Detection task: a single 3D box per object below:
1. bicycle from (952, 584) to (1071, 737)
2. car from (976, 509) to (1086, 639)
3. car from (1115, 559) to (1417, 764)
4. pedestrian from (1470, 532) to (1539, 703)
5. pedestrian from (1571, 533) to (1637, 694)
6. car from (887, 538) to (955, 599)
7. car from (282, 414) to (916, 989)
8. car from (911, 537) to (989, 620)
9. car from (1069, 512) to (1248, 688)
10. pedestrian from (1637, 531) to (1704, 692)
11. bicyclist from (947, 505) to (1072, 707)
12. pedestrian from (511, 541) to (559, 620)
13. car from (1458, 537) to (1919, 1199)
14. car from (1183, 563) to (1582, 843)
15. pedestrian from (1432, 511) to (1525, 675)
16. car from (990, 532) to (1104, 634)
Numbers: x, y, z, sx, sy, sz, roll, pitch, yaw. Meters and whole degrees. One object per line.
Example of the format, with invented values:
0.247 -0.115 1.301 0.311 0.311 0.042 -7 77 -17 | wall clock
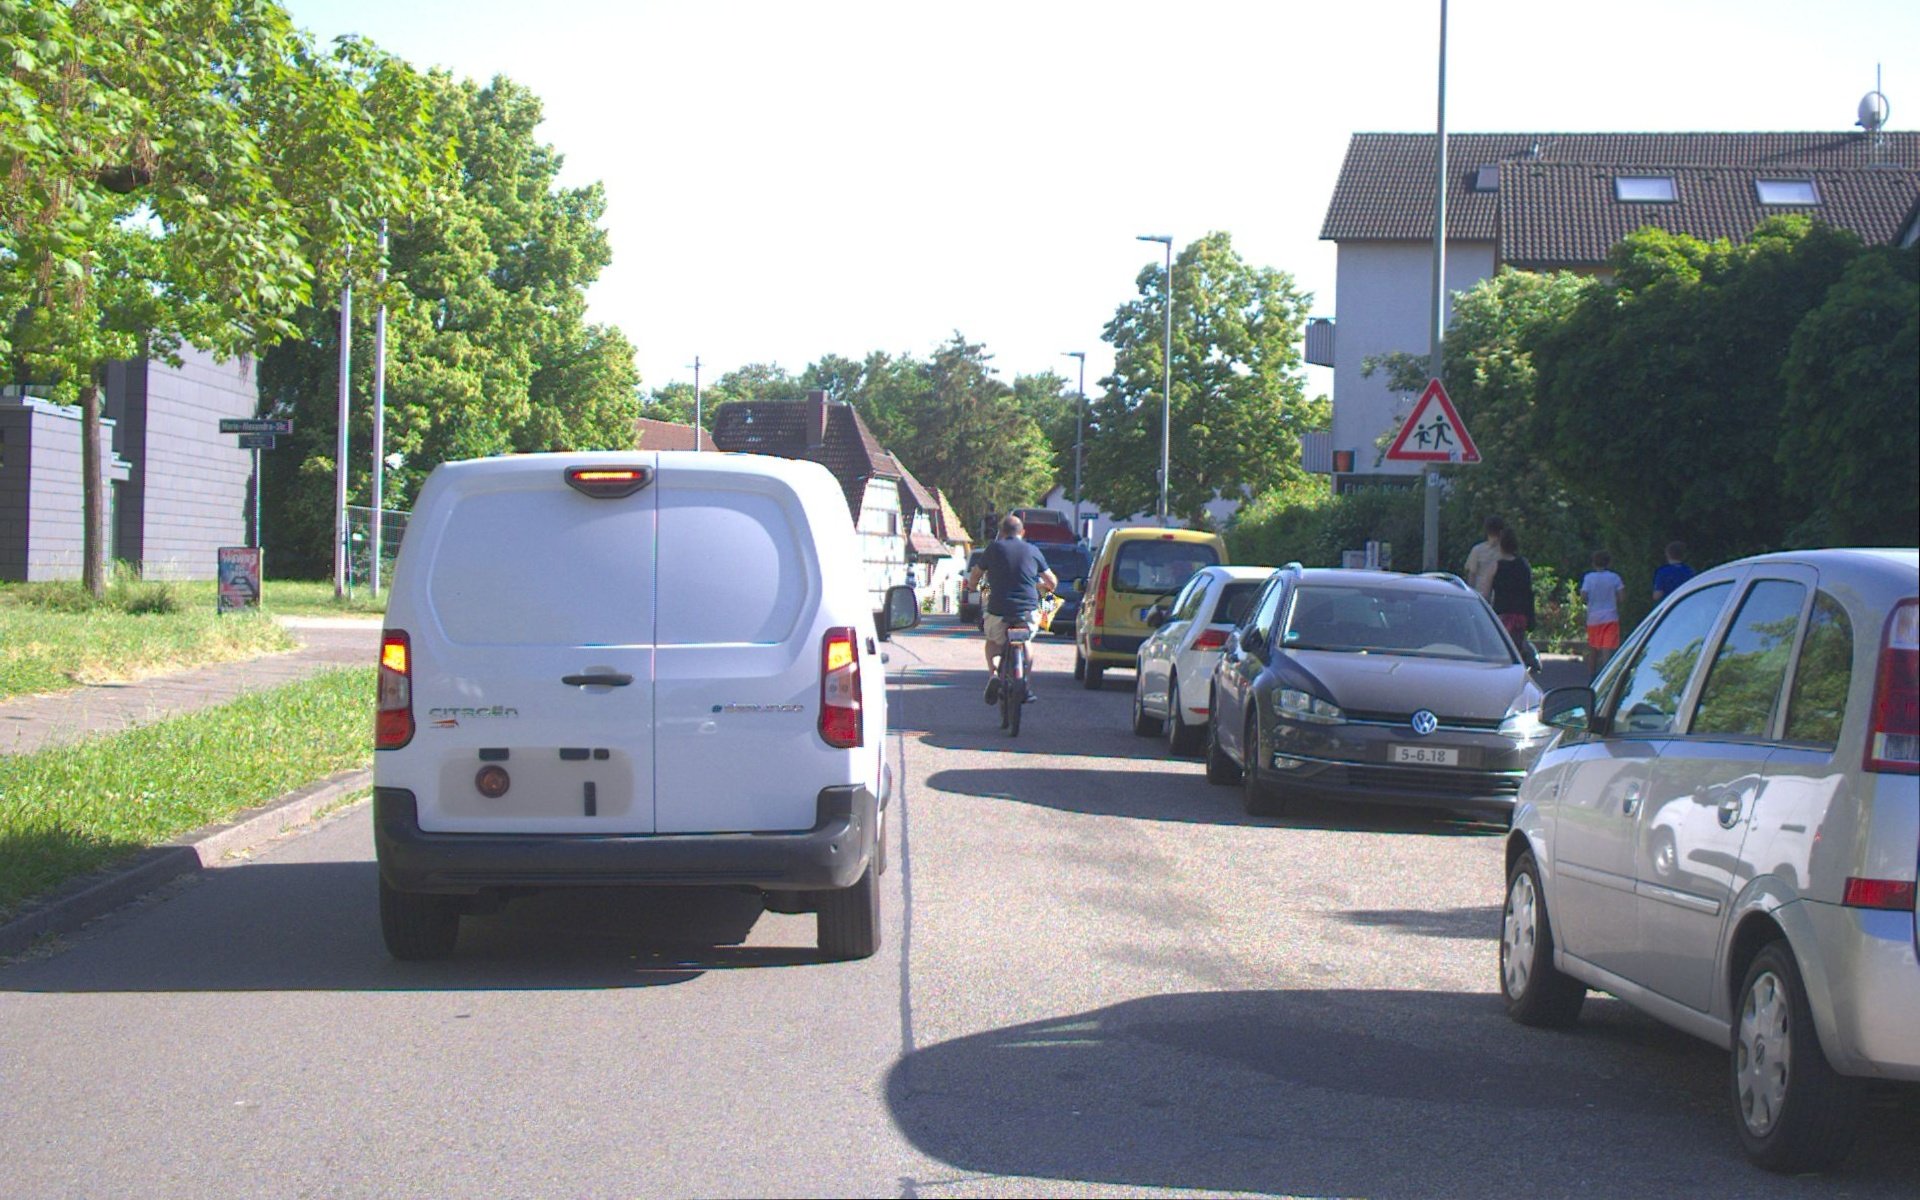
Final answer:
0.401 0.467 27.878 0.786 1.134 2.280 1 1 -3 | bicycle
1.460 -0.533 72.681 1.866 2.553 4.768 4 0 -2 | car
2.338 0.431 27.240 1.826 1.447 4.000 2 1 -2 | car
5.285 0.166 33.395 0.567 1.631 0.546 2 1 4 | pedestrian
6.639 0.135 35.475 0.567 1.631 0.546 2 1 4 | pedestrian
-1.266 -1.022 112.377 1.804 1.836 3.999 4 0 4 | car
-1.240 0.296 13.664 1.993 1.875 4.289 2 1 0 | car
-0.298 -0.560 92.032 1.804 2.061 4.000 4 0 -2 | car
2.187 -0.019 38.804 1.724 1.831 4.000 2 1 0 | car
7.303 0.112 35.351 0.567 1.631 0.546 2 1 4 | pedestrian
0.394 0.047 27.987 0.905 1.579 0.966 2 0 -2 | bicyclist
-8.084 -0.367 65.410 0.510 1.441 0.638 5 1 32 | pedestrian
2.733 0.695 10.074 1.679 1.594 4.029 4 0 -3 | car
2.459 0.544 21.058 1.807 1.438 4.364 2 1 -1 | car
6.018 -0.087 39.950 0.793 1.855 0.874 2 1 -8 | pedestrian
1.620 -0.319 65.481 1.804 1.779 4.000 4 0 -2 | car
